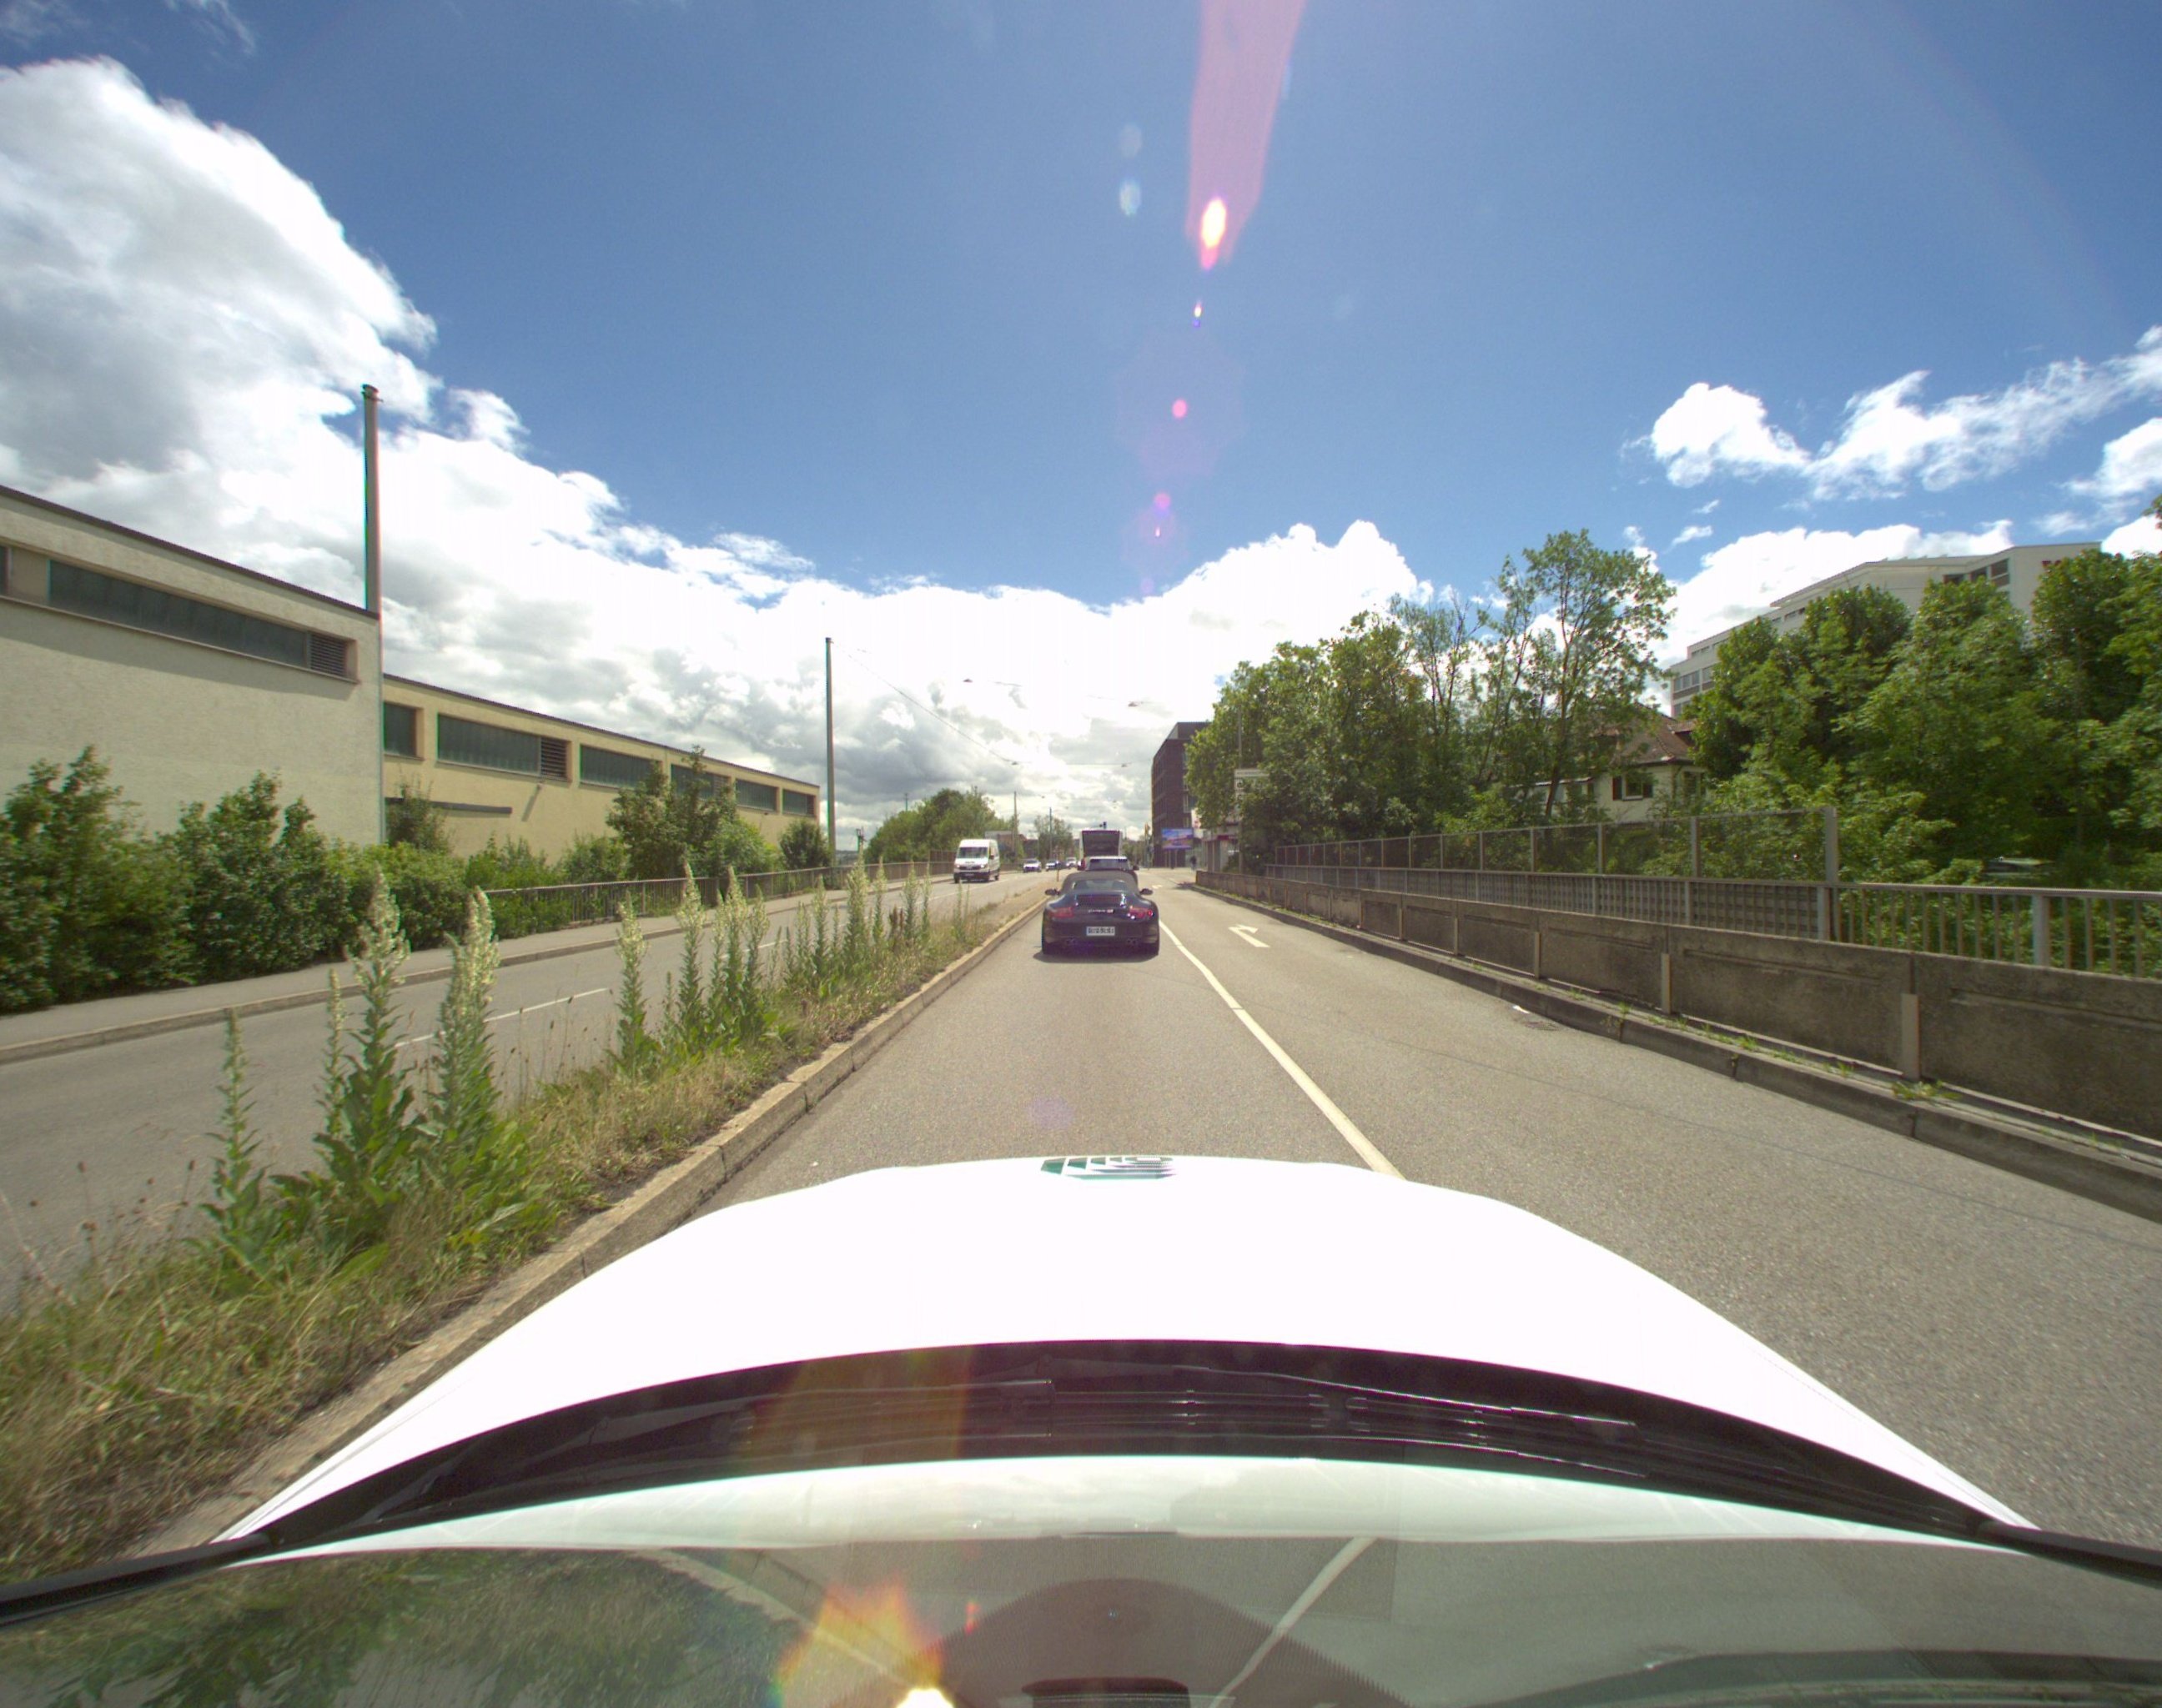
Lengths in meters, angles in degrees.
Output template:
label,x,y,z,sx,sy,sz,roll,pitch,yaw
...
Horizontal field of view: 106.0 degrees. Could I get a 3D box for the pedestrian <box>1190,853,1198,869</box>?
label,x,y,z,sx,sy,sz,roll,pitch,yaw
pedestrian,11.707,0.747,84.614,0.673,1.696,0.602,-1,-1,27

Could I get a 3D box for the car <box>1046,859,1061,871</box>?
label,x,y,z,sx,sy,sz,roll,pitch,yaw
car,-3.620,1.399,108.384,1.804,1.560,4.207,0,0,1

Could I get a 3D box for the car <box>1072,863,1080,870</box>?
label,x,y,z,sx,sy,sz,roll,pitch,yaw
car,-1.107,2.874,185.442,1.656,1.416,3.804,-1,-1,2

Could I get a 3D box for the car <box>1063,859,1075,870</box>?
label,x,y,z,sx,sy,sz,roll,pitch,yaw
car,-2.159,2.002,150.563,1.895,1.887,5.314,-3,-1,1

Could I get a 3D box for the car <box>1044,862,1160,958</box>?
label,x,y,z,sx,sy,sz,roll,pitch,yaw
car,0.311,0.847,14.078,1.714,1.275,4.088,0,2,0

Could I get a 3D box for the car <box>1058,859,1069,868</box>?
label,x,y,z,sx,sy,sz,roll,pitch,yaw
car,-2.826,1.573,132.157,1.622,1.430,4.001,0,-1,1

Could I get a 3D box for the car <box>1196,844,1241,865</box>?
label,x,y,z,sx,sy,sz,roll,pitch,yaw
car,14.000,0.075,82.955,4.214,1.936,2.031,-3,-1,2

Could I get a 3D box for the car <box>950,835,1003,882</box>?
label,x,y,z,sx,sy,sz,roll,pitch,yaw
car,-6.191,0.272,49.178,2.059,2.571,6.823,-2,0,1

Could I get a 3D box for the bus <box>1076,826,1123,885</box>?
label,x,y,z,sx,sy,sz,roll,pitch,yaw
bus,1.337,-0.098,53.355,2.678,3.254,12.068,1,3,2

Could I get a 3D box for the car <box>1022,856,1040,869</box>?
label,x,y,z,sx,sy,sz,roll,pitch,yaw
car,-5.476,0.957,89.157,1.631,1.363,4.196,-1,0,1

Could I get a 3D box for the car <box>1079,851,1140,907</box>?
label,x,y,z,sx,sy,sz,roll,pitch,yaw
car,0.928,0.765,27.055,1.873,1.594,4.231,1,1,1
